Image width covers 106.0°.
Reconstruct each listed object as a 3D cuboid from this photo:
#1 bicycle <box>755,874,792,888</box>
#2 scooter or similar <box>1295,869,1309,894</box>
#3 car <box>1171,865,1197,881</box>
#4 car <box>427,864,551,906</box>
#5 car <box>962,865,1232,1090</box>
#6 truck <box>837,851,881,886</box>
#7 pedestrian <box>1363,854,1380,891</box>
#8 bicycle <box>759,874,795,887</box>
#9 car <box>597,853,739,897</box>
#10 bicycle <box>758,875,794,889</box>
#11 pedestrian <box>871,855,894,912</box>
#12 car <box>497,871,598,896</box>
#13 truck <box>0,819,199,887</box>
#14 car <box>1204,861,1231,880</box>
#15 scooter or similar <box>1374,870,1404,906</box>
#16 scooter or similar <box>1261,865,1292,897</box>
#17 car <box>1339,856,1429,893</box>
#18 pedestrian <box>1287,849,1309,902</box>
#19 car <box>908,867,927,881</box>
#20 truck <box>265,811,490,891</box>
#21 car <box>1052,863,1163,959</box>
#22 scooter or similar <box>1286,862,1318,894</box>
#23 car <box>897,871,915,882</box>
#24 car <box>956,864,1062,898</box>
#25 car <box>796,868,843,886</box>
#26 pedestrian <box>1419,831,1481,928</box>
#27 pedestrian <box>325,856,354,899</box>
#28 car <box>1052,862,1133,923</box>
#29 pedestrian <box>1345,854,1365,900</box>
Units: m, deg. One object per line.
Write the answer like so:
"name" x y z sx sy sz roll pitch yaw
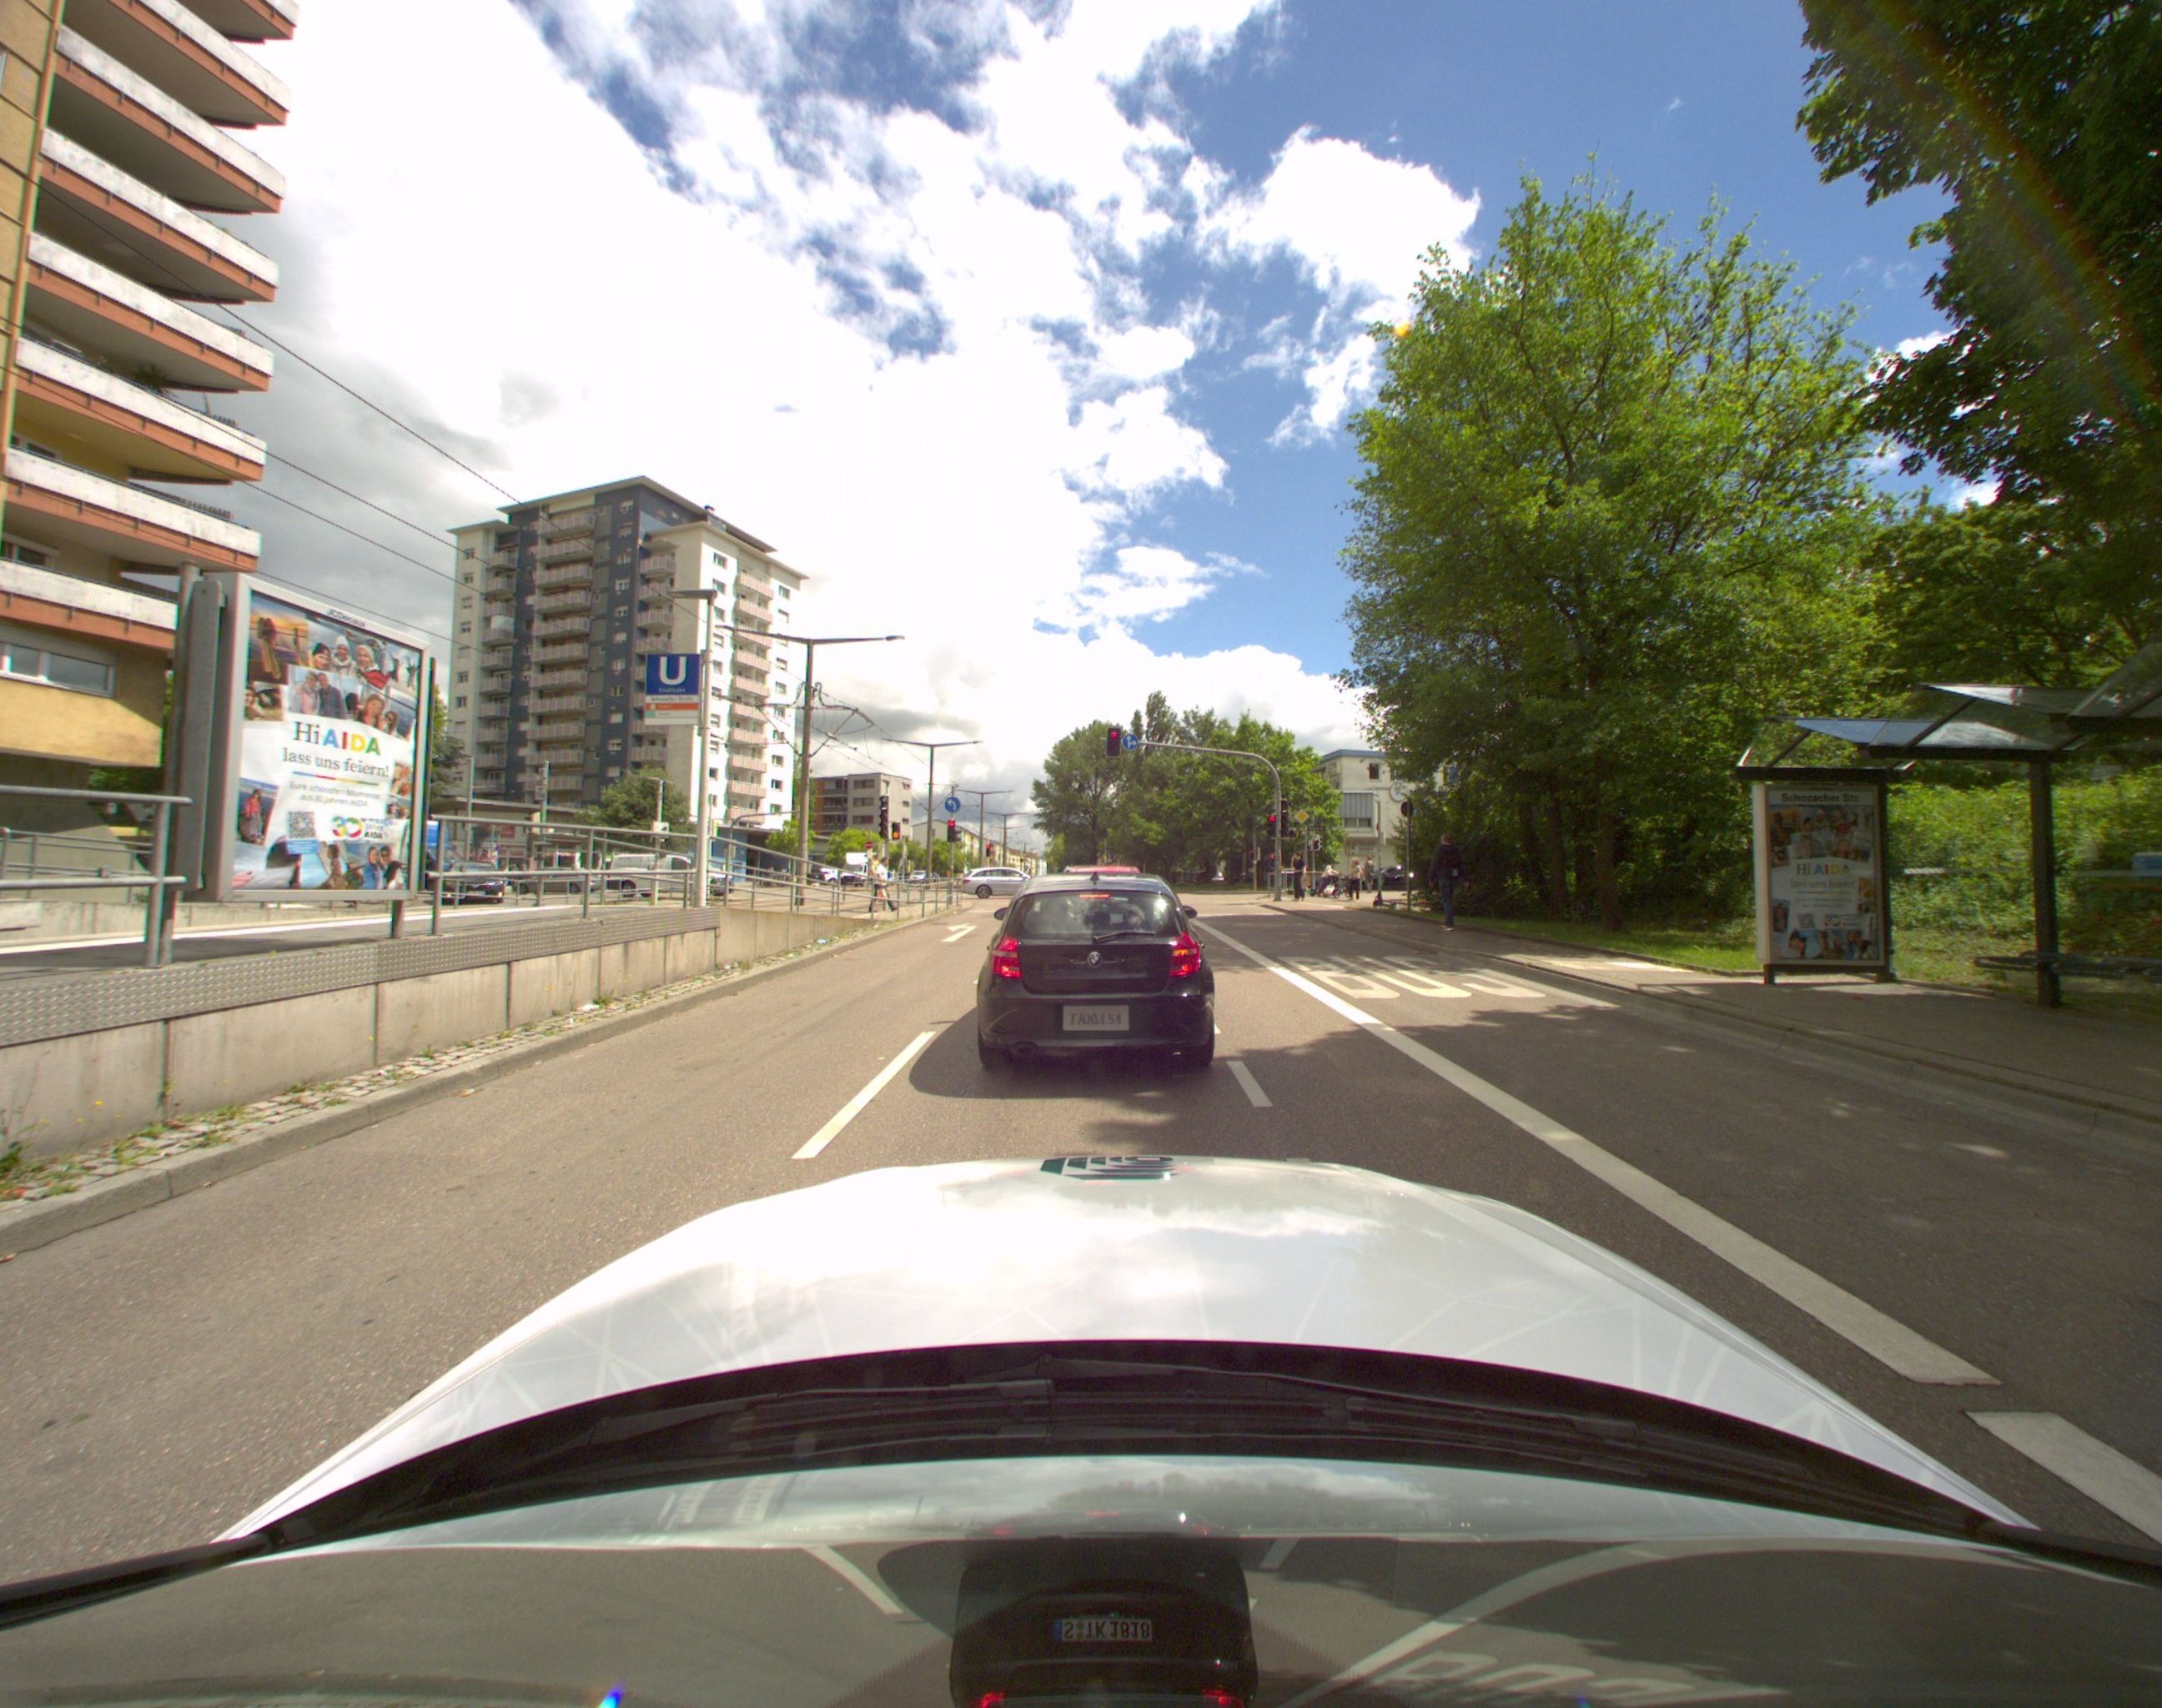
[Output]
"bicycle" -24.151 2.132 63.975 2.570 1.009 0.749 2 -3 -27
"scooter or similar" 9.458 1.170 34.817 0.543 1.064 1.267 0 -1 16
"car" 11.429 2.086 90.563 1.862 1.662 3.987 0 -1 -9
"car" -21.314 1.073 29.539 1.573 1.405 3.866 -1 -1 2
"car" 0.153 0.801 6.841 1.694 1.400 3.421 0 -1 2
"truck" -20.583 1.327 75.940 2.275 3.118 7.312 0 -1 -2
"pedestrian" 13.352 0.846 37.456 0.651 1.713 0.465 -1 -1 31
"bicycle" -24.274 2.142 65.079 2.570 1.009 0.749 2 -3 -27
"car" -18.177 0.903 36.052 5.160 1.893 1.997 0 -1 -5
"bicycle" -23.669 2.166 63.241 2.570 1.009 0.749 2 -3 -27
"pedestrian" -6.160 0.897 25.257 0.688 1.734 0.684 0 -1 -15
"car" -29.875 1.631 45.744 4.437 1.329 1.676 0 -1 -6
"truck" -34.575 -0.022 28.758 4.262 2.290 2.352 0 -1 2
"car" 13.970 1.647 83.417 1.724 1.871 3.990 0 -1 -7
"scooter or similar" 10.755 1.189 28.475 0.886 1.230 0.455 0 -1 1
"scooter or similar" 7.583 1.030 31.625 1.105 1.235 0.540 0 -1 4
"car" 17.843 1.181 48.074 4.530 2.014 1.995 -2 -1 -7
"pedestrian" 7.763 0.767 29.171 0.634 1.876 0.518 0 -1 1
"car" -20.505 2.477 102.187 1.586 1.756 3.775 0 -1 1
"truck" -30.584 -0.132 35.654 7.256 3.348 2.604 0 -1 -5
"car" 0.444 0.857 13.742 1.632 1.400 3.421 0 -1 2
"scooter or similar" 8.943 0.966 33.014 1.146 1.272 0.555 0 -1 1
"car" -24.143 3.049 112.664 1.586 1.474 3.775 0 -1 1
"car" -3.343 1.233 37.928 4.784 1.522 1.996 0 -1 -6
"car" -25.242 2.226 78.712 3.946 1.647 1.636 0 -1 -44
"pedestrian" 7.368 0.500 16.321 0.792 1.876 1.014 0 -1 1
"pedestrian" -25.133 0.787 27.607 0.494 1.440 0.551 -1 -1 12
"car" 0.346 0.921 21.250 1.893 1.422 4.540 0 -1 2
"pedestrian" 10.576 0.888 31.442 0.632 1.766 0.520 0 -1 11
